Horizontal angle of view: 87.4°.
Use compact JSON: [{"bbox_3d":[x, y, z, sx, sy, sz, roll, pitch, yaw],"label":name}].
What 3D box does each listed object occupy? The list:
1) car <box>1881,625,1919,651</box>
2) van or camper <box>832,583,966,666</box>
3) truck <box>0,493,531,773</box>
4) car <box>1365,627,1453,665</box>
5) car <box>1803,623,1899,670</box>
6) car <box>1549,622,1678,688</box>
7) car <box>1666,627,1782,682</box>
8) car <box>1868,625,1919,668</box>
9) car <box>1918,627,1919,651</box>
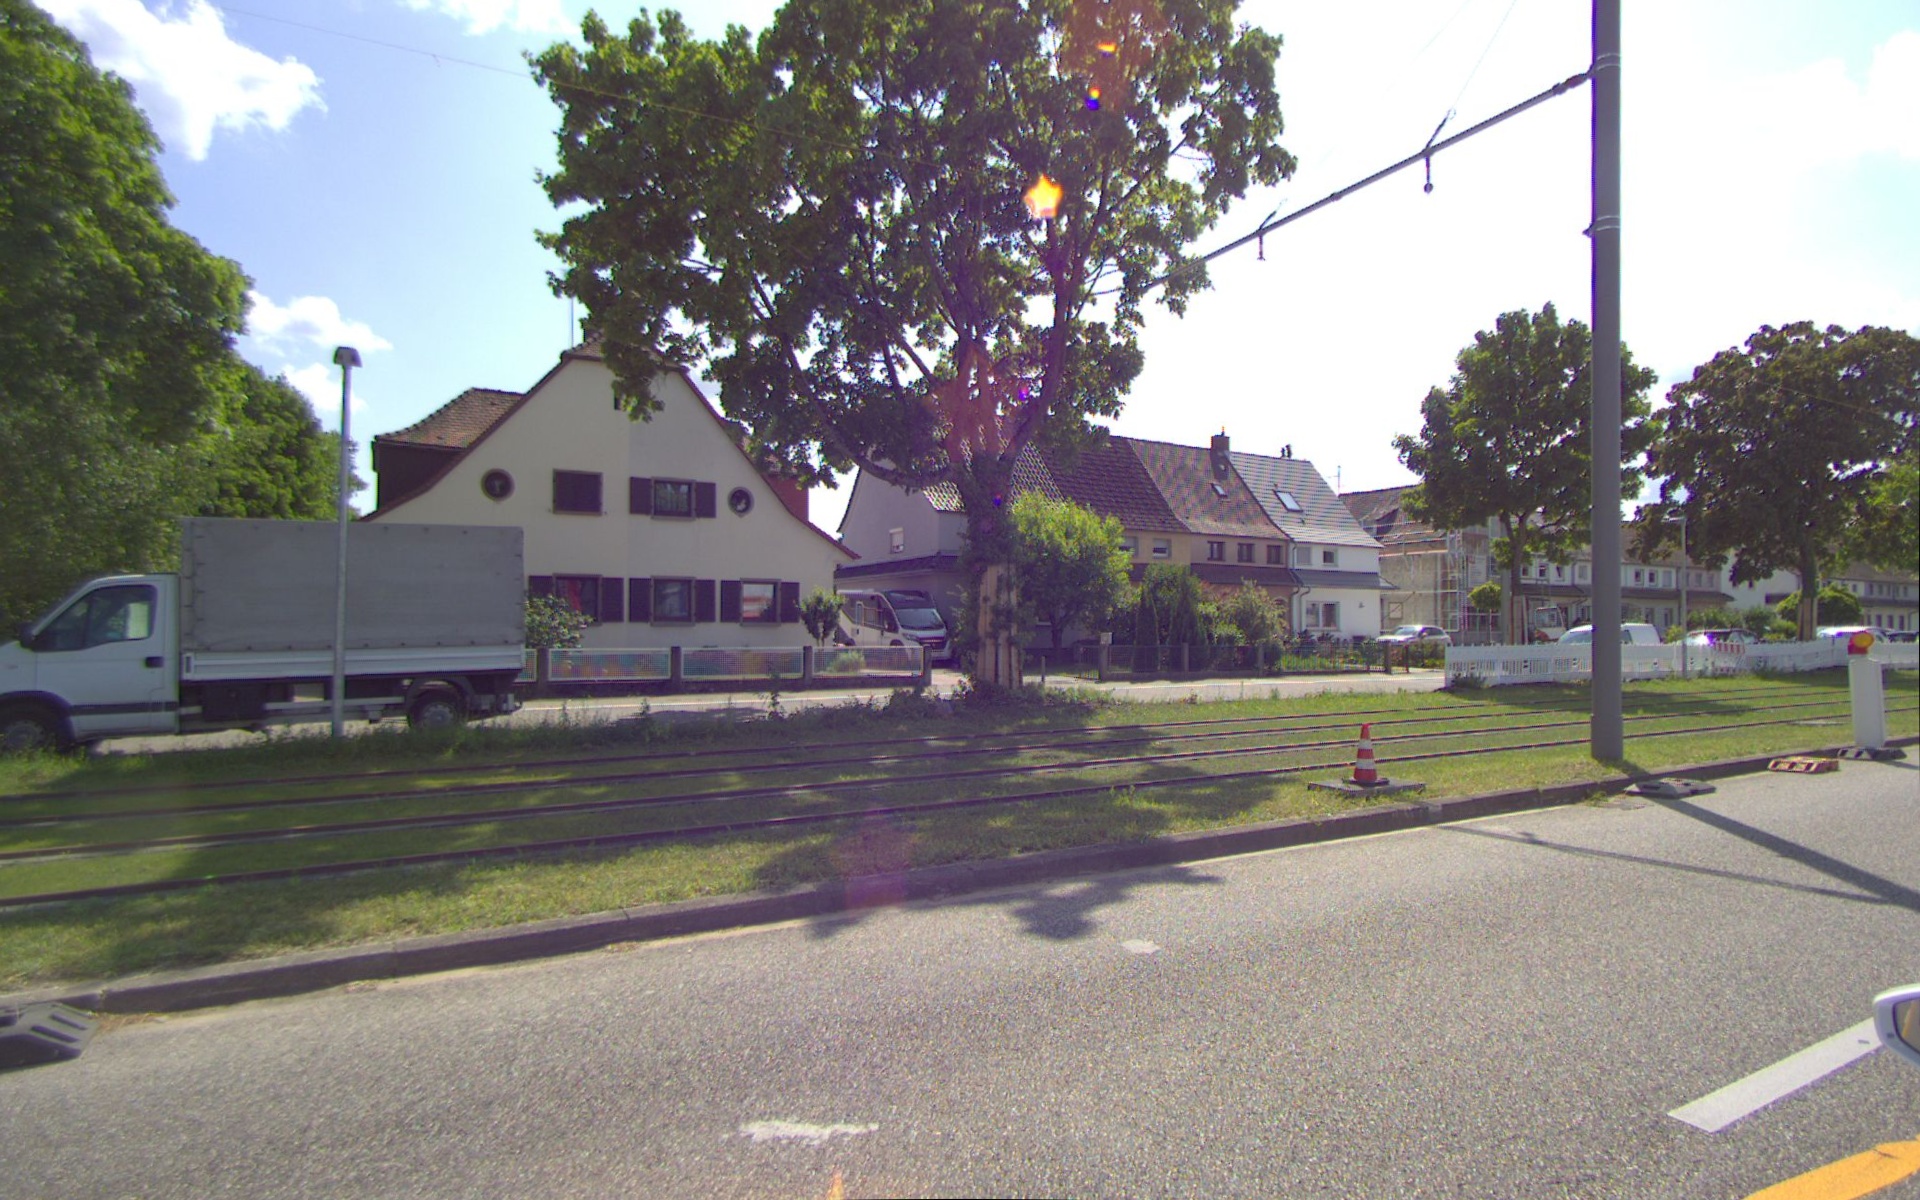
[{"bbox_3d":[66.759,2.676,70.729,4.013,1.762,1.691,1,-2,-30],"label":"car"},{"bbox_3d":[-2.346,0.908,36.651,2.224,2.745,5.963,1,-2,-33],"label":"van or camper"},{"bbox_3d":[-8.794,0.415,12.935,5.805,3.027,1.994,1,-2,-30],"label":"truck"},{"bbox_3d":[19.894,1.992,44.479,3.814,1.614,1.691,1,-2,-30],"label":"car"},{"bbox_3d":[34.976,1.800,39.403,3.814,1.762,1.691,1,-2,-30],"label":"car"},{"bbox_3d":[19.506,1.604,29.960,3.814,1.841,1.691,1,-2,-30],"label":"car"},{"bbox_3d":[25.751,1.798,33.826,4.006,1.762,1.691,1,-2,-30],"label":"car"},{"bbox_3d":[40.394,1.958,42.599,3.814,1.762,1.691,1,-2,-30],"label":"car"},{"bbox_3d":[72.142,2.840,73.665,4.013,1.762,1.691,1,-2,-30],"label":"car"}]
